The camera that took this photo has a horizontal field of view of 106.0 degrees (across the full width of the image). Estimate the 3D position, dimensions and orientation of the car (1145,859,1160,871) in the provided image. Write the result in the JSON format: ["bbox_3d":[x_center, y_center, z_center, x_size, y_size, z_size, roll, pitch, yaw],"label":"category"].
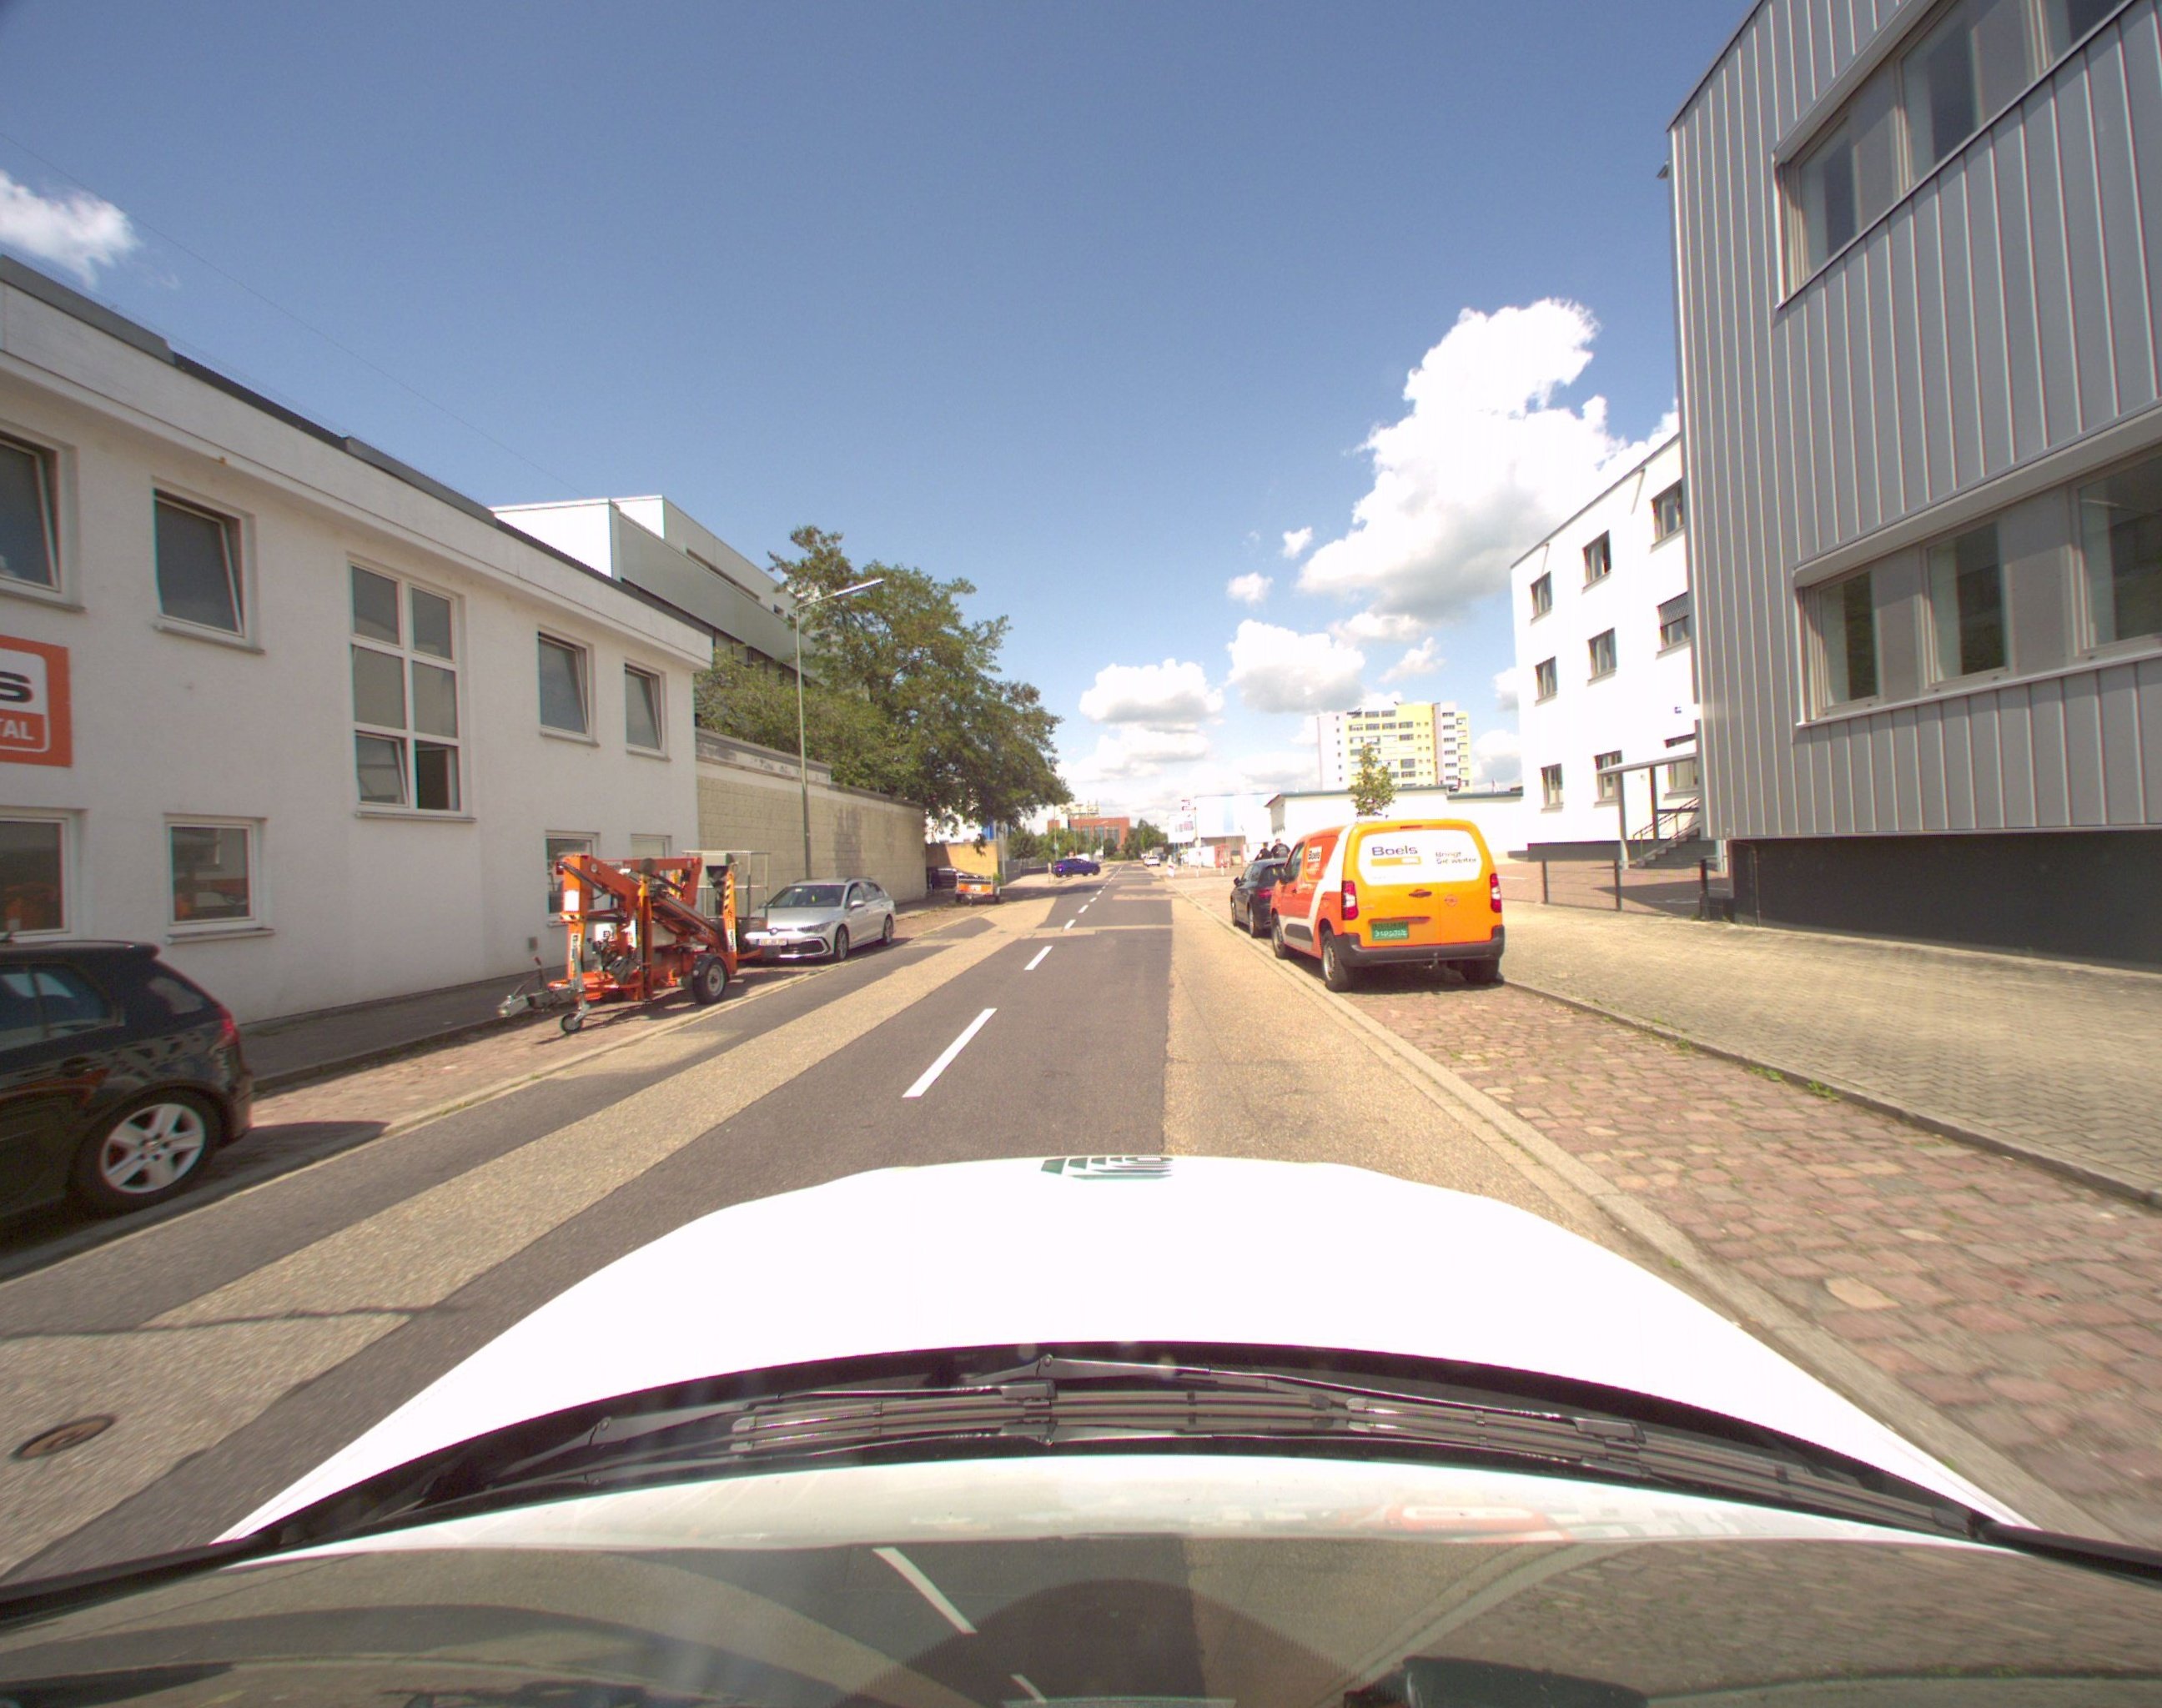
[{"bbox_3d":[9.886,1.550,113.325,1.860,1.520,4.601,-2,-1,3],"label":"car"}]

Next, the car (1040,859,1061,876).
[{"bbox_3d":[-3.250,1.464,88.114,1.860,1.708,4.756,-2,-1,3],"label":"car"}]

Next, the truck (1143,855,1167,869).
[{"bbox_3d":[21.182,2.353,232.371,2.298,3.567,9.428,-1,1,34],"label":"truck"}]

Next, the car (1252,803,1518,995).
[{"bbox_3d":[3.559,0.485,10.521,1.865,1.892,4.454,2,-1,2],"label":"car"}]

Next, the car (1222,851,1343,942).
[{"bbox_3d":[3.818,0.757,16.065,1.652,1.558,4.182,0,-1,4],"label":"car"}]

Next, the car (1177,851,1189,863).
[{"bbox_3d":[20.286,0.614,162.264,1.915,2.464,5.264,-2,-1,4],"label":"car"}]

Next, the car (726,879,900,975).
[{"bbox_3d":[-4.851,1.252,15.471,1.667,1.455,4.515,-1,-1,2],"label":"car"}]

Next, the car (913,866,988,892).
[{"bbox_3d":[-7.659,1.465,47.934,3.972,1.362,1.797,2,-1,6],"label":"car"}]

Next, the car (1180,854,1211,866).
[{"bbox_3d":[16.785,0.901,119.346,4.260,1.420,2.002,-3,-1,3],"label":"car"}]

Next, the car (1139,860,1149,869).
[{"bbox_3d":[11.197,1.856,144.902,1.746,1.651,4.684,-2,-1,5],"label":"car"}]

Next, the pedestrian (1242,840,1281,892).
[{"bbox_3d":[6.481,0.439,29.243,0.859,1.807,0.999,-3,-1,-19],"label":"pedestrian"}]

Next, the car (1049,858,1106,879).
[{"bbox_3d":[-0.329,1.322,73.825,4.712,1.593,1.899,-3,-1,-27],"label":"car"}]

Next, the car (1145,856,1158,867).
[{"bbox_3d":[10.927,1.154,126.114,1.827,1.520,4.464,-2,-1,3],"label":"car"}]

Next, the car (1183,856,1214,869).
[{"bbox_3d":[15.743,1.156,109.380,3.969,1.420,2.002,-3,-1,3],"label":"car"}]

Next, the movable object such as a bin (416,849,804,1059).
[{"bbox_3d":[-5.290,0.944,10.188,1.607,1.919,5.142,1,0,3],"label":"movable object such as a bin"}]

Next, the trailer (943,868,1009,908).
[{"bbox_3d":[-4.051,1.263,31.978,1.759,1.439,4.339,0,-1,3],"label":"trailer"}]

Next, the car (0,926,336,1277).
[{"bbox_3d":[-5.709,1.173,3.136,1.666,1.455,4.226,-1,-1,2],"label":"car"}]

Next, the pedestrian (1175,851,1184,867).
[{"bbox_3d":[11.085,0.574,91.602,0.766,1.756,0.787,-5,-1,3],"label":"pedestrian"}]

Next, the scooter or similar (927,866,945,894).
[{"bbox_3d":[-6.778,1.198,38.106,0.480,1.279,1.362,0,-1,4],"label":"scooter or similar"}]

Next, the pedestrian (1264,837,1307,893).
[{"bbox_3d":[7.418,0.411,29.617,0.993,1.951,1.084,-3,-1,-20],"label":"pedestrian"}]
